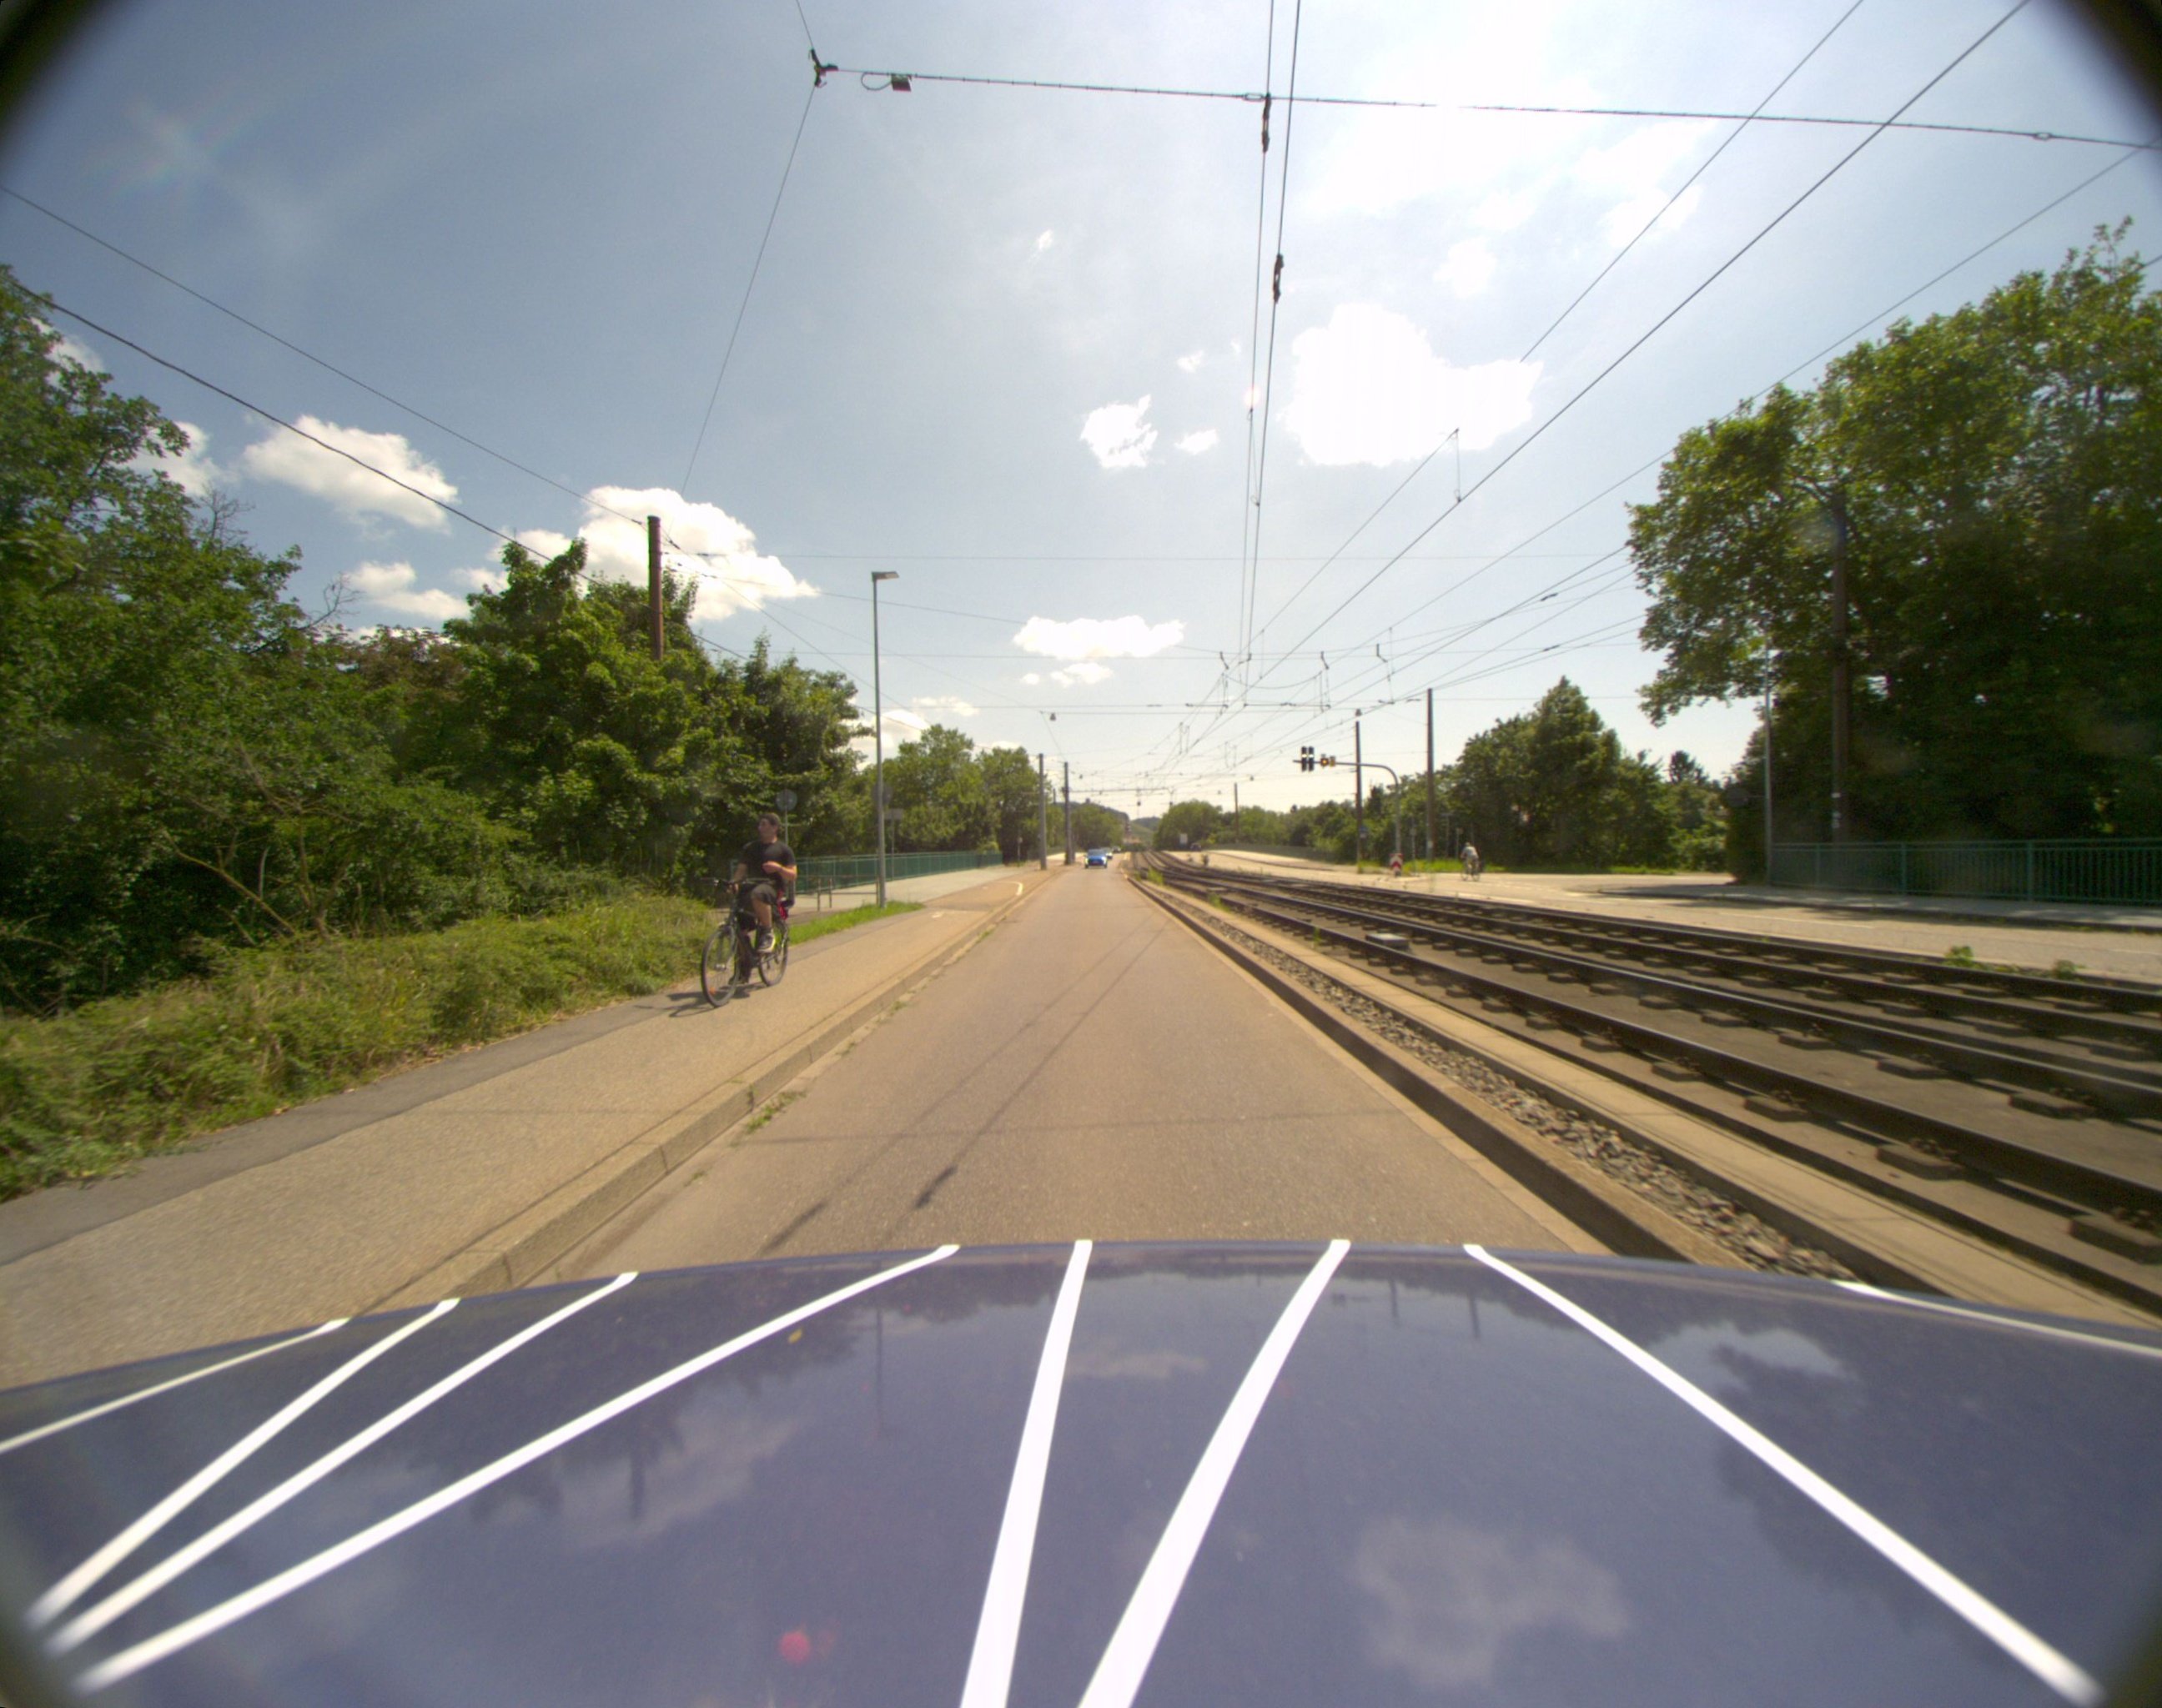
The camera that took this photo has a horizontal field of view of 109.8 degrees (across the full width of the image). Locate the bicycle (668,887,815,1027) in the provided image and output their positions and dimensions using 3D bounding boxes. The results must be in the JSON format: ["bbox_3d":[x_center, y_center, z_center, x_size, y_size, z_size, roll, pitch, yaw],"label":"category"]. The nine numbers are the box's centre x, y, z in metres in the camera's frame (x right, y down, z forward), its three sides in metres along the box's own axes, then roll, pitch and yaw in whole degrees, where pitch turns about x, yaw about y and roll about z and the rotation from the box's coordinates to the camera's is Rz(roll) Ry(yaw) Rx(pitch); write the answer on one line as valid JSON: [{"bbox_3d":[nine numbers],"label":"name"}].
[{"bbox_3d":[-3.311,0.948,7.602,0.433,1.145,1.856,-3,0,5],"label":"bicycle"}]

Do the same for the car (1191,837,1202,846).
[{"bbox_3d":[20.177,-2.249,132.686,1.709,1.502,3.733,-1,2,5],"label":"car"}]

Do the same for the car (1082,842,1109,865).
[{"bbox_3d":[1.140,0.005,58.135,1.864,1.630,4.001,-2,0,3],"label":"car"}]

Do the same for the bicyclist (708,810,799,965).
[{"bbox_3d":[-3.315,0.332,7.715,0.586,1.486,0.558,-3,0,5],"label":"bicyclist"}]

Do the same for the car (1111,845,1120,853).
[{"bbox_3d":[7.227,-1.089,159.995,1.730,1.696,4.000,-1,1,1],"label":"car"}]

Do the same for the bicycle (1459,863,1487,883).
[{"bbox_3d":[17.995,0.859,34.890,0.470,0.863,1.743,-2,1,3],"label":"bicycle"}]

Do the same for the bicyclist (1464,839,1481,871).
[{"bbox_3d":[17.973,0.048,34.861,0.457,1.465,0.633,-2,2,3],"label":"bicyclist"}]

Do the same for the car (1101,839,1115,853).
[{"bbox_3d":[3.535,-0.996,98.731,1.683,1.737,3.686,-3,0,1],"label":"car"}]
